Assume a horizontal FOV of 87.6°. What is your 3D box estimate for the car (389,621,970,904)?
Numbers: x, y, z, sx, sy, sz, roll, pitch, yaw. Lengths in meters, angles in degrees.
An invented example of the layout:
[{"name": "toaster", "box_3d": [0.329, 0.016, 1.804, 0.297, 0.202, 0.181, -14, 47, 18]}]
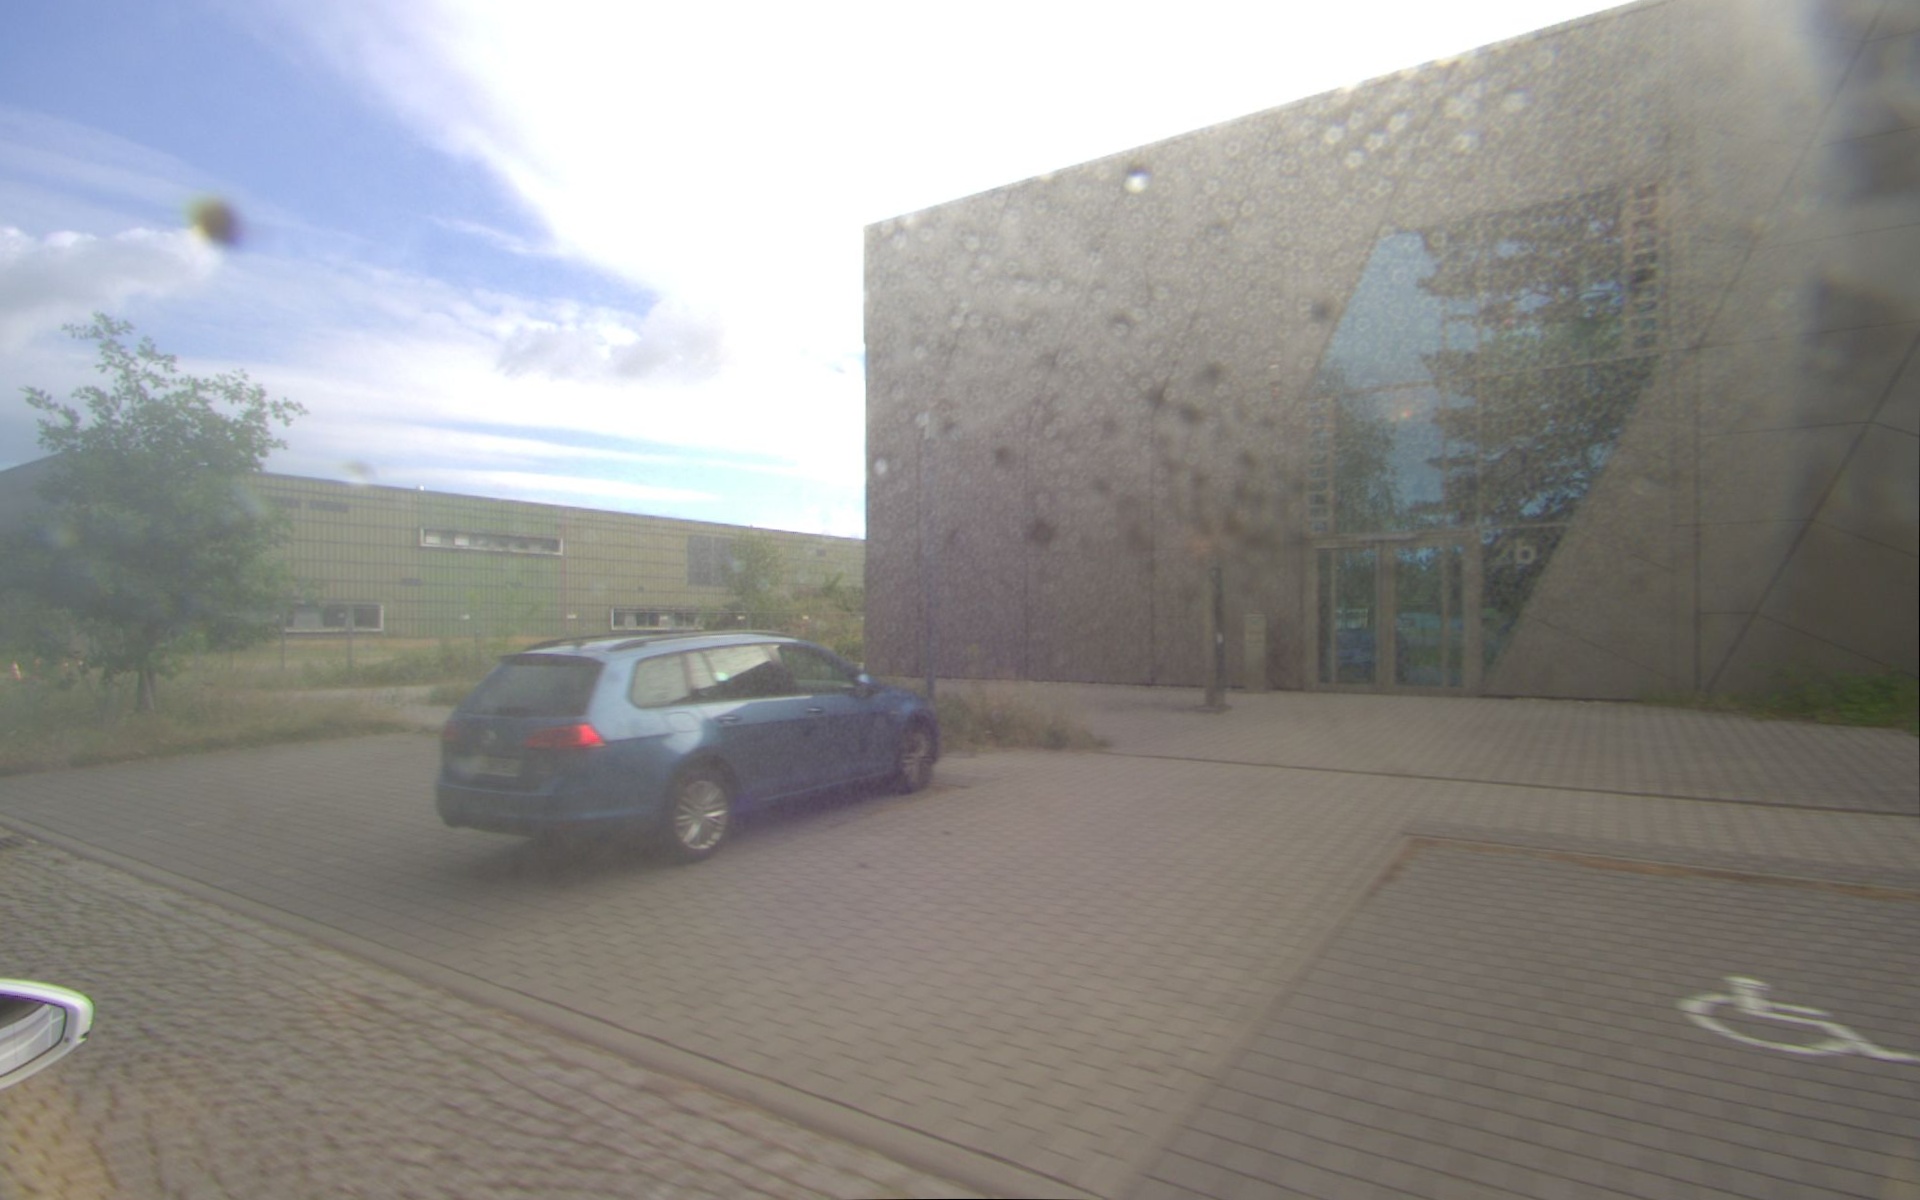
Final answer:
[{"name": "car", "box_3d": [-1.815, 0.964, 8.042, 1.796, 1.463, 4.514, 0, 0, 30]}]
